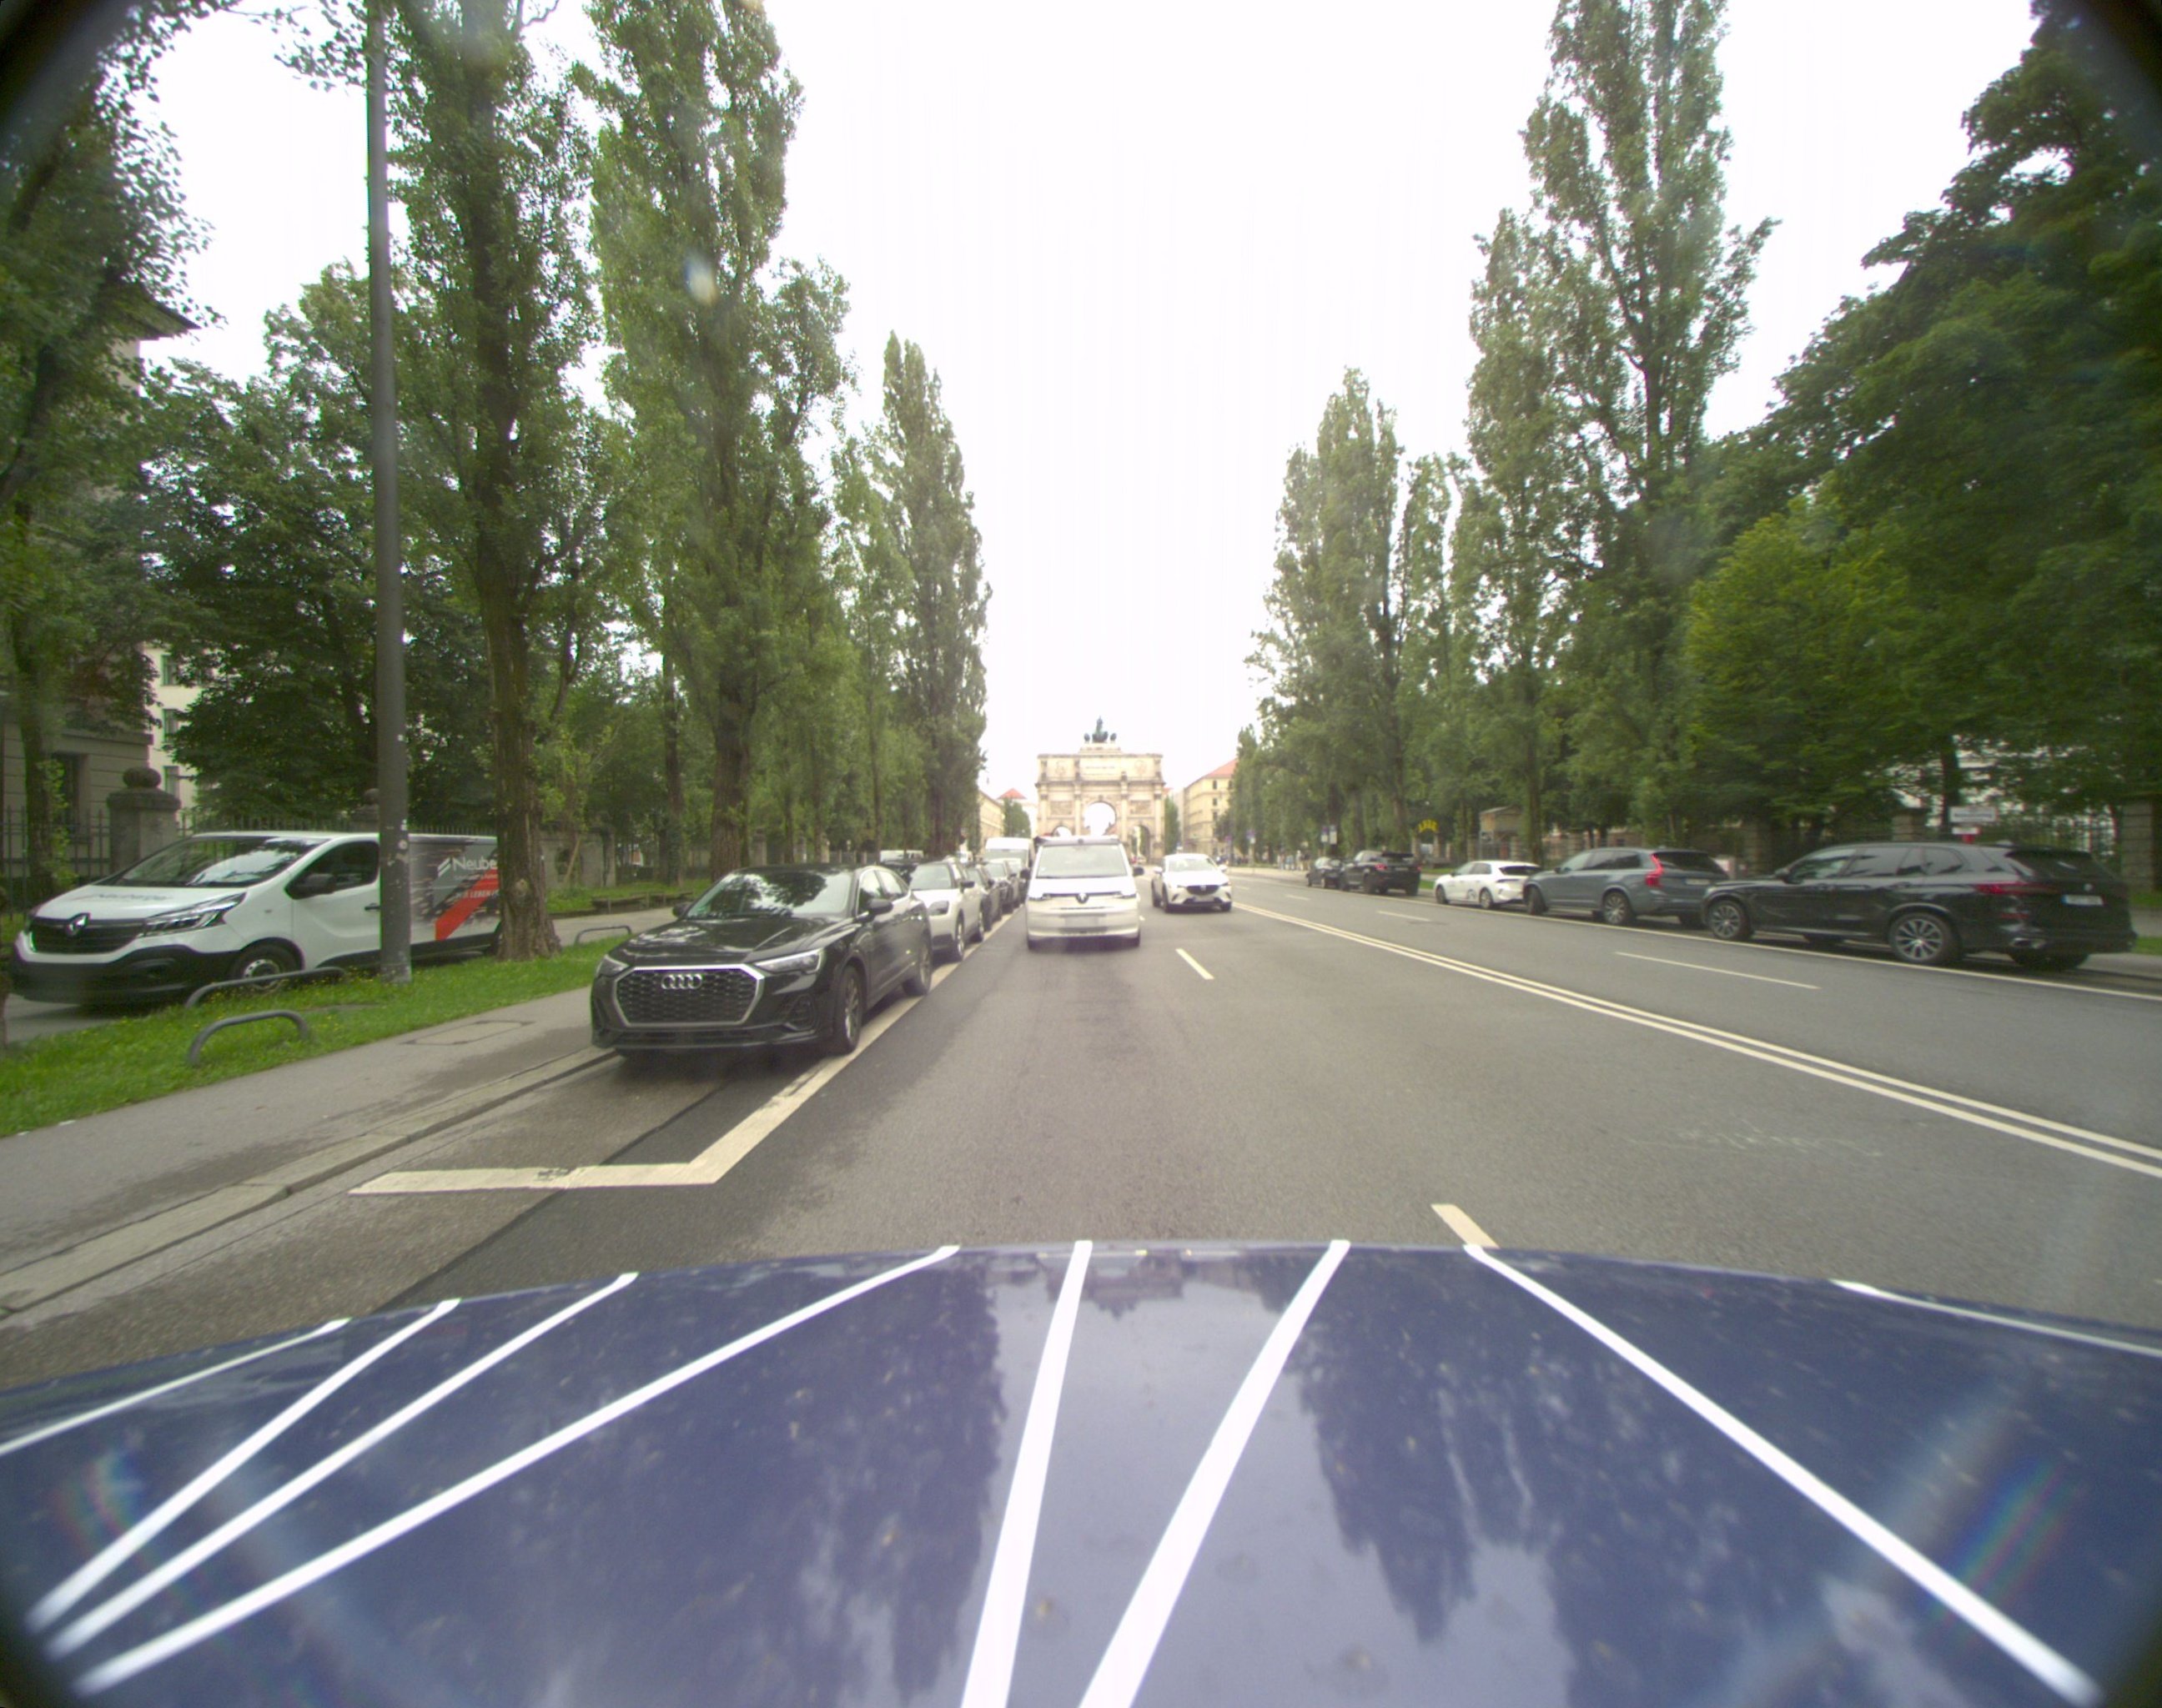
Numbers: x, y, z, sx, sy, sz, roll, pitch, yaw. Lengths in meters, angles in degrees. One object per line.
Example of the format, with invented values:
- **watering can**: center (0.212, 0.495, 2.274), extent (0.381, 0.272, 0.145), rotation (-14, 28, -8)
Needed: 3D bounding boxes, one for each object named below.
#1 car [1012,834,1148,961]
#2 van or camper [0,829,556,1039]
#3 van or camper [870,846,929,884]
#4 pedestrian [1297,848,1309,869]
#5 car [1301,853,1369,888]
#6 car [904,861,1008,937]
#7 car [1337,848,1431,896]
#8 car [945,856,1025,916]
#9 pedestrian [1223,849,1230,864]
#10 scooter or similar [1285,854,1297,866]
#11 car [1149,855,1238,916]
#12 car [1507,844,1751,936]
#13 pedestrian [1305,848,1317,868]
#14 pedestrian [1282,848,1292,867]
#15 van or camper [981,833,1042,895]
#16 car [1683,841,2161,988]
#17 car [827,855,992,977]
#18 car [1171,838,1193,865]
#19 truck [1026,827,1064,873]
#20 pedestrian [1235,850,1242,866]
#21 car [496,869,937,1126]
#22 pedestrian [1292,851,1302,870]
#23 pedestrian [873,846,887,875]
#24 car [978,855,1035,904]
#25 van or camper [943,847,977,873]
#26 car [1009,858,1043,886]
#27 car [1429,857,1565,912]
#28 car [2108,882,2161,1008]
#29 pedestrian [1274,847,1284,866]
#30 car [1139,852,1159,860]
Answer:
- **car**: center (0.014, 0.667, 14.687), extent (2.064, 1.916, 5.728), rotation (-1, 0, 1)
- **van or camper**: center (-9.717, 0.756, 9.785), extent (2.081, 1.922, 5.368), rotation (-2, 0, 0)
- **van or camper**: center (-9.859, 0.577, 41.674), extent (1.980, 1.922, 5.037), rotation (-2, 0, -1)
- **pedestrian**: center (19.458, 0.395, 66.719), extent (0.711, 1.823, 1.092), rotation (0, 1, -1)
- **car**: center (12.527, 0.771, 37.779), extent (1.949, 1.574, 4.388), rotation (1, 0, 0)
- **car**: center (-2.782, 0.950, 17.801), extent (1.707, 1.511, 4.295), rotation (-1, 0, 0)
- **car**: center (12.394, 0.683, 31.491), extent (2.051, 1.776, 4.800), rotation (1, 0, 2)
- **car**: center (-2.752, 0.865, 22.697), extent (1.788, 1.608, 4.637), rotation (-1, 0, 0)
- **pedestrian**: center (17.631, 0.287, 92.046), extent (0.533, 1.720, 0.583), rotation (-1, 0, -11)
- **scooter or similar**: center (21.378, 0.603, 77.448), extent (0.747, 1.171, 1.415), rotation (1, 0, -5)
- **car**: center (3.015, 0.790, 21.122), extent (1.910, 1.516, 4.009), rotation (-1, 0, 1)
- **car**: center (12.486, 0.719, 17.895), extent (1.914, 1.779, 5.179), rotation (2, 0, 0)
- **pedestrian**: center (20.192, 0.346, 66.733), extent (0.711, 1.762, 1.092), rotation (0, 1, -1)
- **pedestrian**: center (18.675, 0.311, 68.875), extent (0.689, 1.690, 0.885), rotation (-1, 0, -1)
- **van or camper**: center (-3.022, 0.396, 34.577), extent (2.144, 2.525, 6.416), rotation (-1, 0, 0)
- **car**: center (12.342, 0.742, 11.816), extent (1.946, 1.757, 4.894), rotation (2, 0, -1)
- **car**: center (-2.649, 0.869, 12.869), extent (1.747, 1.665, 4.579), rotation (-1, 0, 0)
- **car**: center (12.006, -0.319, 90.228), extent (1.797, 1.333, 4.451), rotation (3, 24, -3)
- **truck**: center (-2.913, -0.286, 64.491), extent (2.852, 3.543, 10.277), rotation (-1, 0, -1)
- **pedestrian**: center (18.067, 0.454, 87.182), extent (0.533, 1.720, 0.583), rotation (-1, 0, -11)
- **car**: center (-2.735, 0.952, 7.047), extent (1.885, 1.531, 4.464), rotation (-1, 0, 1)
- **pedestrian**: center (19.511, 0.610, 68.737), extent (0.661, 1.706, 0.911), rotation (-1, 0, -1)
- **pedestrian**: center (-13.760, 0.434, 51.999), extent (0.905, 2.002, 0.956), rotation (0, 1, -16)
- **car**: center (-2.659, 0.861, 27.942), extent (1.789, 1.639, 4.417), rotation (-1, 0, -2)
- **van or camper**: center (-9.663, 0.475, 61.162), extent (2.009, 2.002, 4.985), rotation (-2, 0, -2)
- **car**: center (-2.943, 0.942, 41.279), extent (1.680, 1.412, 3.999), rotation (-1, 0, -2)
- **car**: center (12.385, 0.850, 22.956), extent (1.708, 1.450, 4.272), rotation (1, 0, 0)
- **car**: center (12.513, 1.012, 6.440), extent (1.831, 1.326, 4.233), rotation (2, 0, -1)
- **pedestrian**: center (17.999, 0.247, 68.970), extent (0.631, 1.737, 0.908), rotation (-1, 0, -1)
- **car**: center (14.275, 0.449, 159.634), extent (2.004, 1.739, 3.989), rotation (-1, 0, -40)
